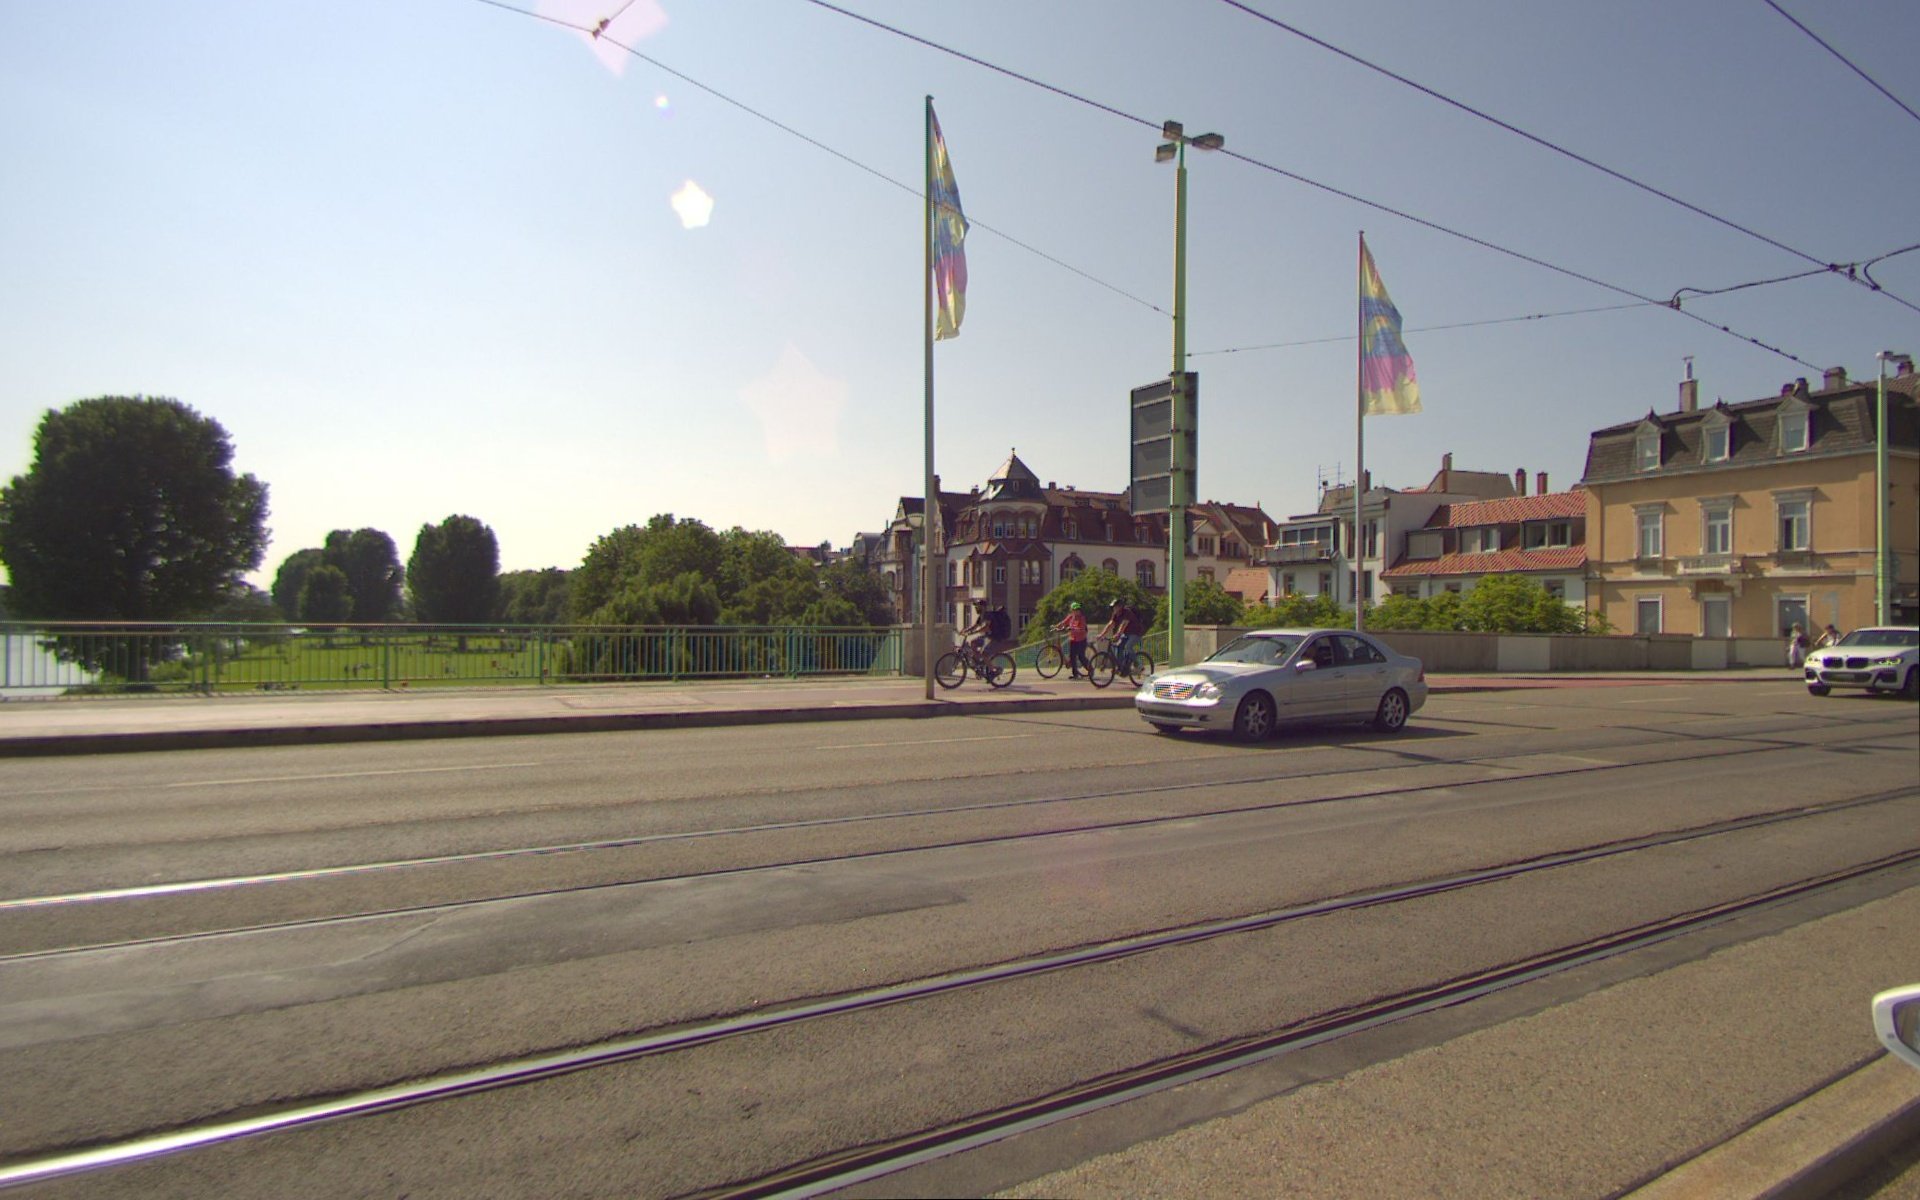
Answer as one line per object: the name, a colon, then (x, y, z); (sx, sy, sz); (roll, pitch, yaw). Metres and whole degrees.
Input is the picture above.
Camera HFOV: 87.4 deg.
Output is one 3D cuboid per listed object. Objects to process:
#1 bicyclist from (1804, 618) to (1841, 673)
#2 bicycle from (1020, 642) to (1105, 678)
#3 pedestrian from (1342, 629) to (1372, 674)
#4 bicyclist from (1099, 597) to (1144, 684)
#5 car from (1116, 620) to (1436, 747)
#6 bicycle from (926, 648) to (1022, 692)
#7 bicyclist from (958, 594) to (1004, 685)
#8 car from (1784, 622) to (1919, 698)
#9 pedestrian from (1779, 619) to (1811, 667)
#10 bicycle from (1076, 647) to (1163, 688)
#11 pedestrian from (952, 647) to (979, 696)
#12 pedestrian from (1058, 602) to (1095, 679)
bicyclist: (26.813, 1.402, 31.233); (0.612, 1.672, 0.626); (0, 1, -21)
bicycle: (2.306, 1.328, 22.418); (1.912, 0.726, 0.617); (0, 1, -32)
pedestrian: (10.701, 1.397, 27.063); (0.536, 1.161, 0.412); (2, 3, -16)
bicyclist: (3.228, 0.794, 20.061); (0.614, 1.672, 0.624); (0, 2, -29)
car: (4.362, 1.045, 13.662); (4.323, 1.480, 1.723); (2, -1, -31)
bicycle: (0.280, 1.307, 19.022); (1.750, 0.726, 0.617); (0, 1, -30)
bicyclist: (0.394, 0.735, 19.069); (0.614, 1.672, 0.624); (0, 2, -29)
car: (21.628, 1.366, 23.469); (4.592, 1.607, 1.987); (1, -1, -27)
pedestrian: (29.748, 1.533, 35.788); (0.559, 1.624, 0.646); (-1, 5, -29)
bicycle: (3.193, 1.335, 20.059); (1.711, 0.726, 0.617); (0, 1, -30)
pedestrian: (0.210, 2.673, 37.727); (0.791, 1.804, 0.743); (1, -1, -25)
pedestrian: (2.540, 0.876, 21.928); (0.620, 1.654, 0.410); (1, 2, -32)
